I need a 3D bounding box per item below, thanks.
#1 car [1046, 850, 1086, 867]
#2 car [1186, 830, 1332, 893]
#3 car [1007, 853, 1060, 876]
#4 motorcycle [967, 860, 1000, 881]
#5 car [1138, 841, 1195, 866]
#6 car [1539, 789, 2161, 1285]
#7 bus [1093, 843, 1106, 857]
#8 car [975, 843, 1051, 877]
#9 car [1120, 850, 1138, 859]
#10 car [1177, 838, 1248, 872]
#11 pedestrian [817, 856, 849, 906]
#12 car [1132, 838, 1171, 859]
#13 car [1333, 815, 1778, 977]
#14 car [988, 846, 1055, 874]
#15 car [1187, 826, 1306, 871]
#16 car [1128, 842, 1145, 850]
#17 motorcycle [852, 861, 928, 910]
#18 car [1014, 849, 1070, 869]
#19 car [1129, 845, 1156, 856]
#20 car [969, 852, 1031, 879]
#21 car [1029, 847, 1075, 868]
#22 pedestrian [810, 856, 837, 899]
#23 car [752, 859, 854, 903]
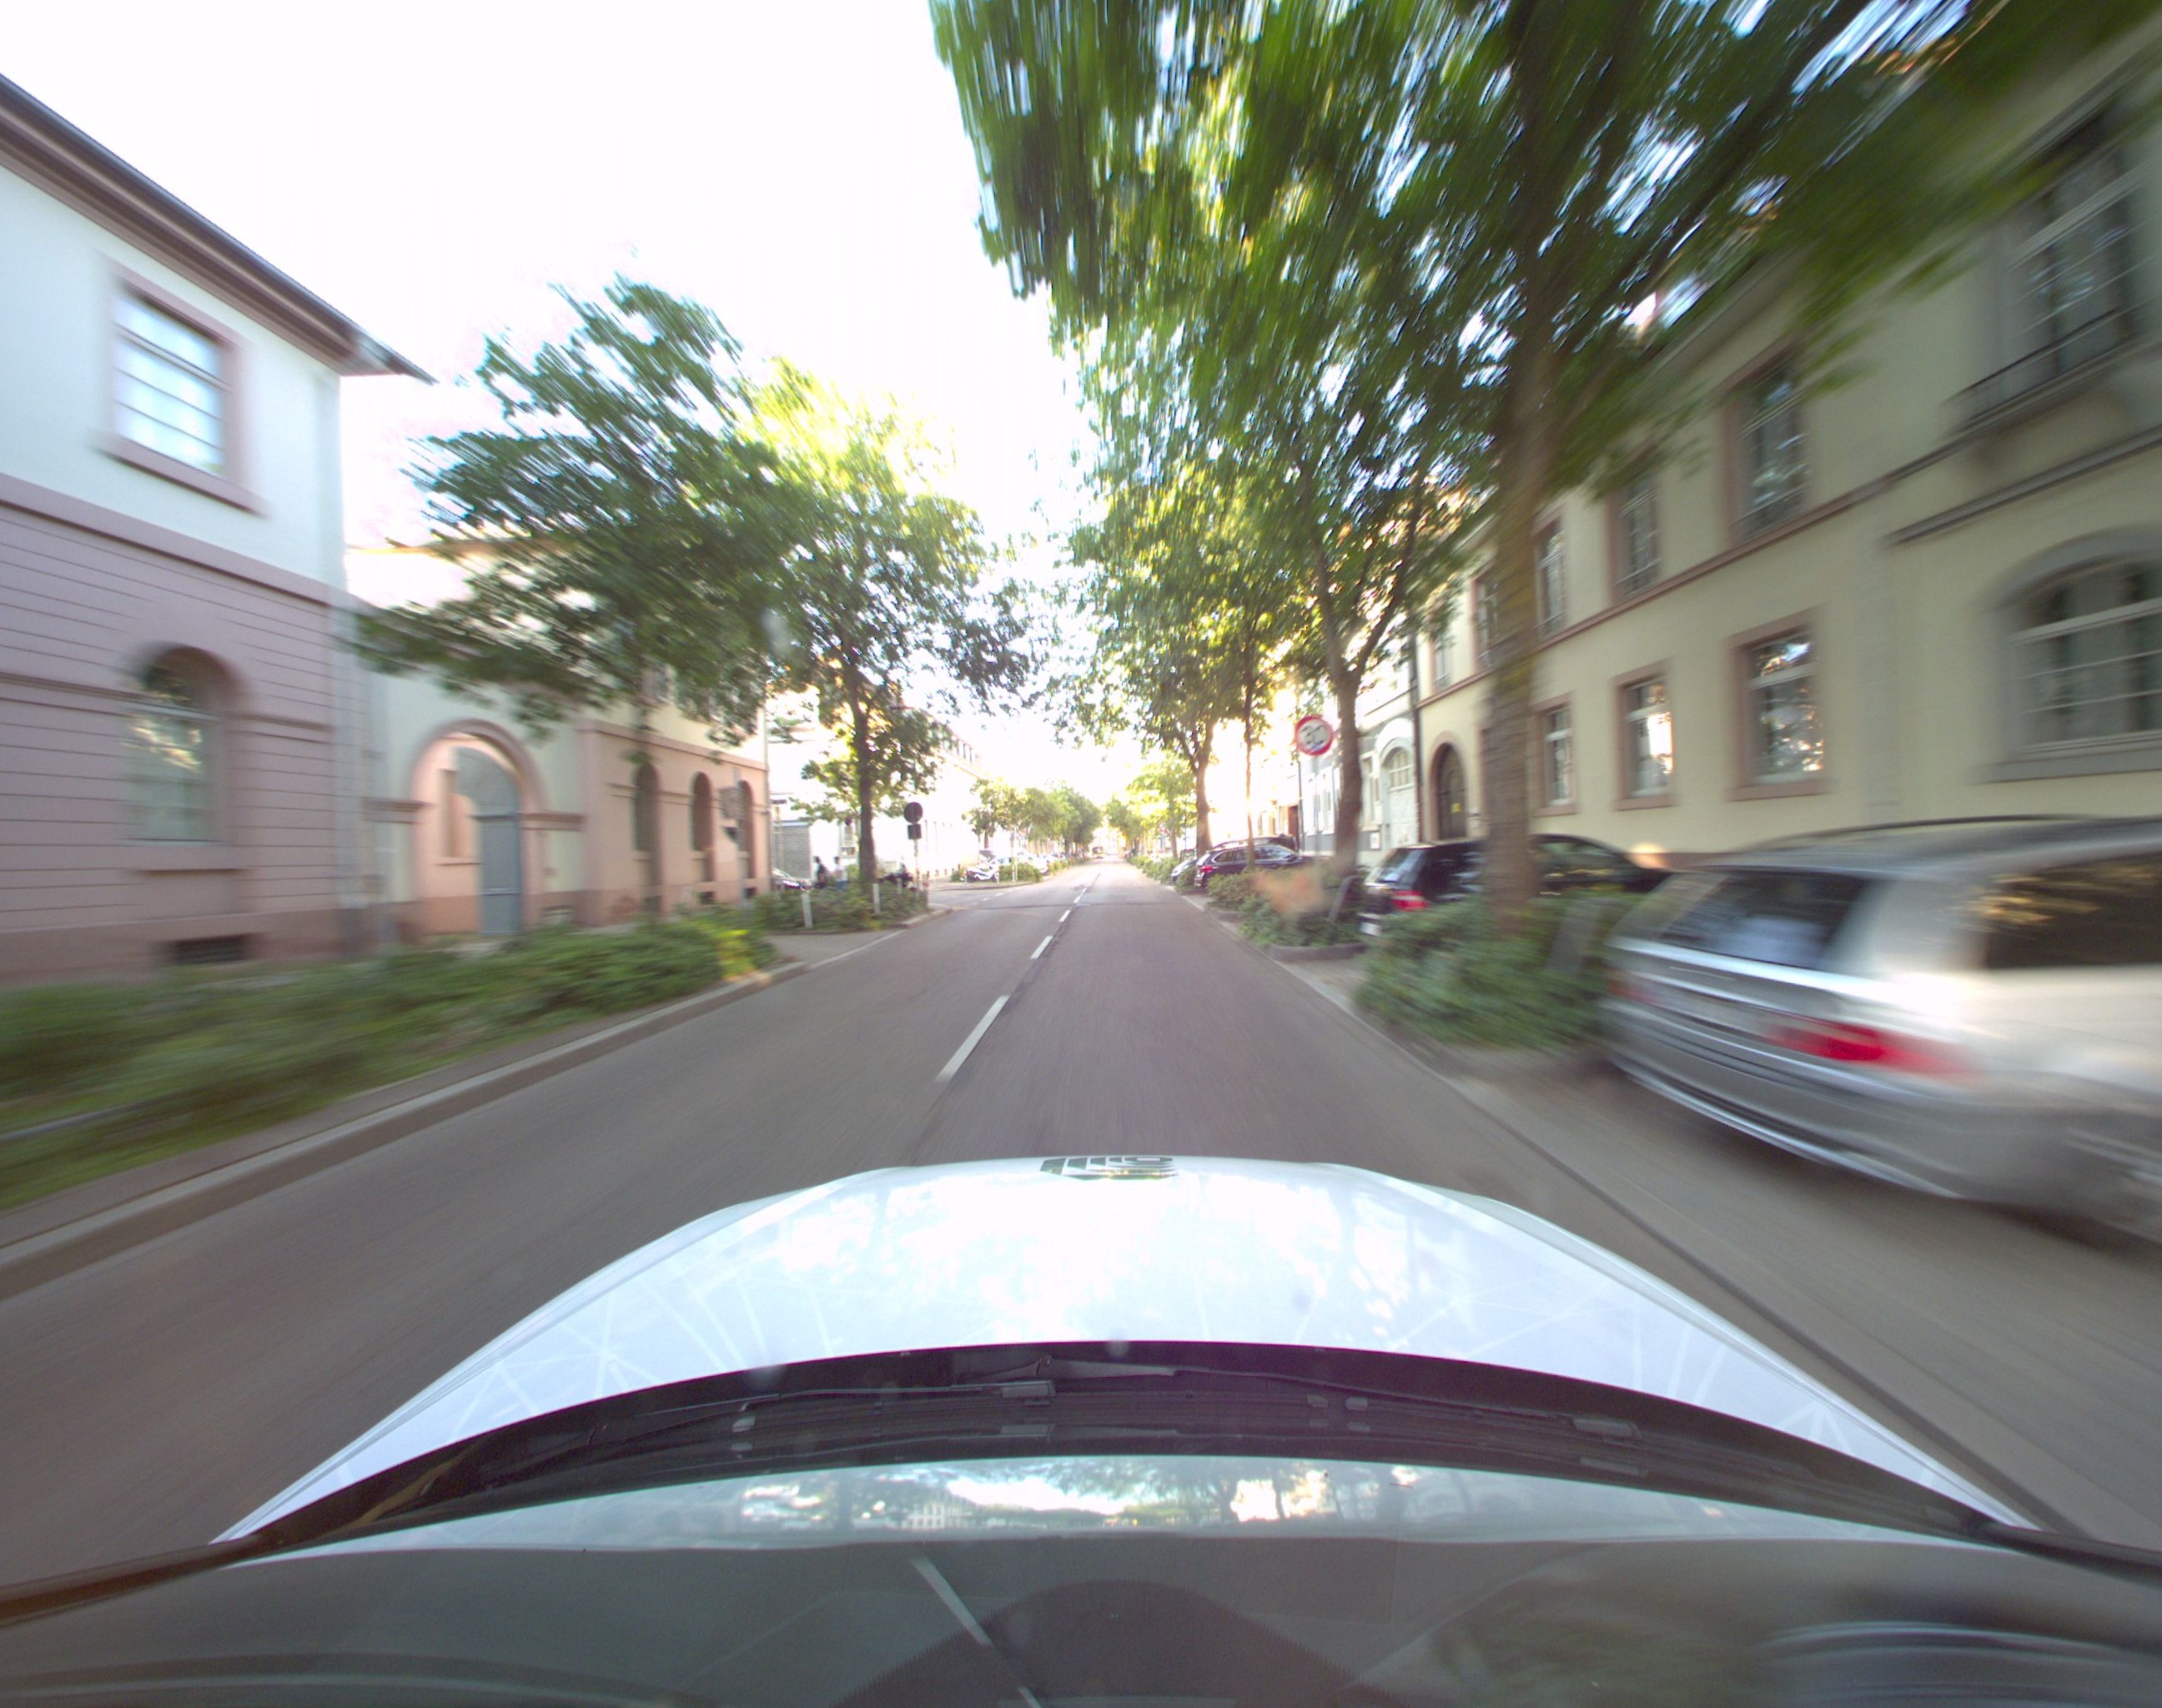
[{"bbox_3d":[-2.010,0.616,110.038,5.043,2.083,2.265,-3,0,3],"label":"car"},{"bbox_3d":[5.294,0.220,24.575,4.000,1.623,1.781,-3,0,1],"label":"car"},{"bbox_3d":[-4.838,1.077,83.406,5.042,2.083,2.265,-3,0,3],"label":"car"},{"bbox_3d":[-5.147,0.862,43.122,1.630,1.068,0.656,-2,0,2],"label":"motorcycle"},{"bbox_3d":[7.059,-0.047,67.540,4.574,1.761,2.224,-3,0,3],"label":"car"},{"bbox_3d":[4.586,0.482,3.454,4.176,1.480,1.853,-4,0,2],"label":"car"},{"bbox_3d":[4.435,-1.018,200.580,3.017,3.190,9.404,-2,0,1],"label":"bus"},{"bbox_3d":[-4.772,0.390,57.713,5.045,2.083,2.264,-3,0,1],"label":"car"},{"bbox_3d":[11.190,0.058,189.405,3.963,1.837,2.005,-2,0,9],"label":"car"},{"bbox_3d":[7.044,0.036,43.786,3.598,1.626,1.588,-3,0,5],"label":"car"},{"bbox_3d":[-8.615,0.915,28.325,0.714,1.664,0.839,-3,0,4],"label":"pedestrian"},{"bbox_3d":[7.473,-0.570,86.195,3.968,2.013,2.003,-2,0,5],"label":"car"},{"bbox_3d":[5.167,0.428,9.290,4.000,1.480,1.781,-3,0,1],"label":"car"},{"bbox_3d":[-4.768,0.457,65.651,5.042,1.823,2.266,-3,3,3],"label":"car"},{"bbox_3d":[6.082,-0.196,30.240,4.000,1.419,1.781,-3,0,1],"label":"car"},{"bbox_3d":[14.523,-2.079,212.420,3.961,1.771,2.006,-3,0,11],"label":"car"},{"bbox_3d":[-5.259,0.861,22.499,1.912,1.258,0.591,-2,0,2],"label":"motorcycle"},{"bbox_3d":[-3.684,0.486,77.766,5.040,1.617,2.266,-3,0,5],"label":"car"},{"bbox_3d":[9.249,-0.484,122.404,3.974,1.442,1.697,-3,0,0],"label":"car"},{"bbox_3d":[-5.151,0.750,52.325,3.715,1.508,1.872,-3,0,-2],"label":"car"},{"bbox_3d":[-3.352,0.381,94.030,5.043,2.083,2.265,-3,0,3],"label":"car"},{"bbox_3d":[-8.669,0.786,27.437,0.652,1.395,0.608,-1,-1,2],"label":"pedestrian"},{"bbox_3d":[-10.882,1.028,31.997,3.378,1.504,1.463,-3,0,3],"label":"car"}]
